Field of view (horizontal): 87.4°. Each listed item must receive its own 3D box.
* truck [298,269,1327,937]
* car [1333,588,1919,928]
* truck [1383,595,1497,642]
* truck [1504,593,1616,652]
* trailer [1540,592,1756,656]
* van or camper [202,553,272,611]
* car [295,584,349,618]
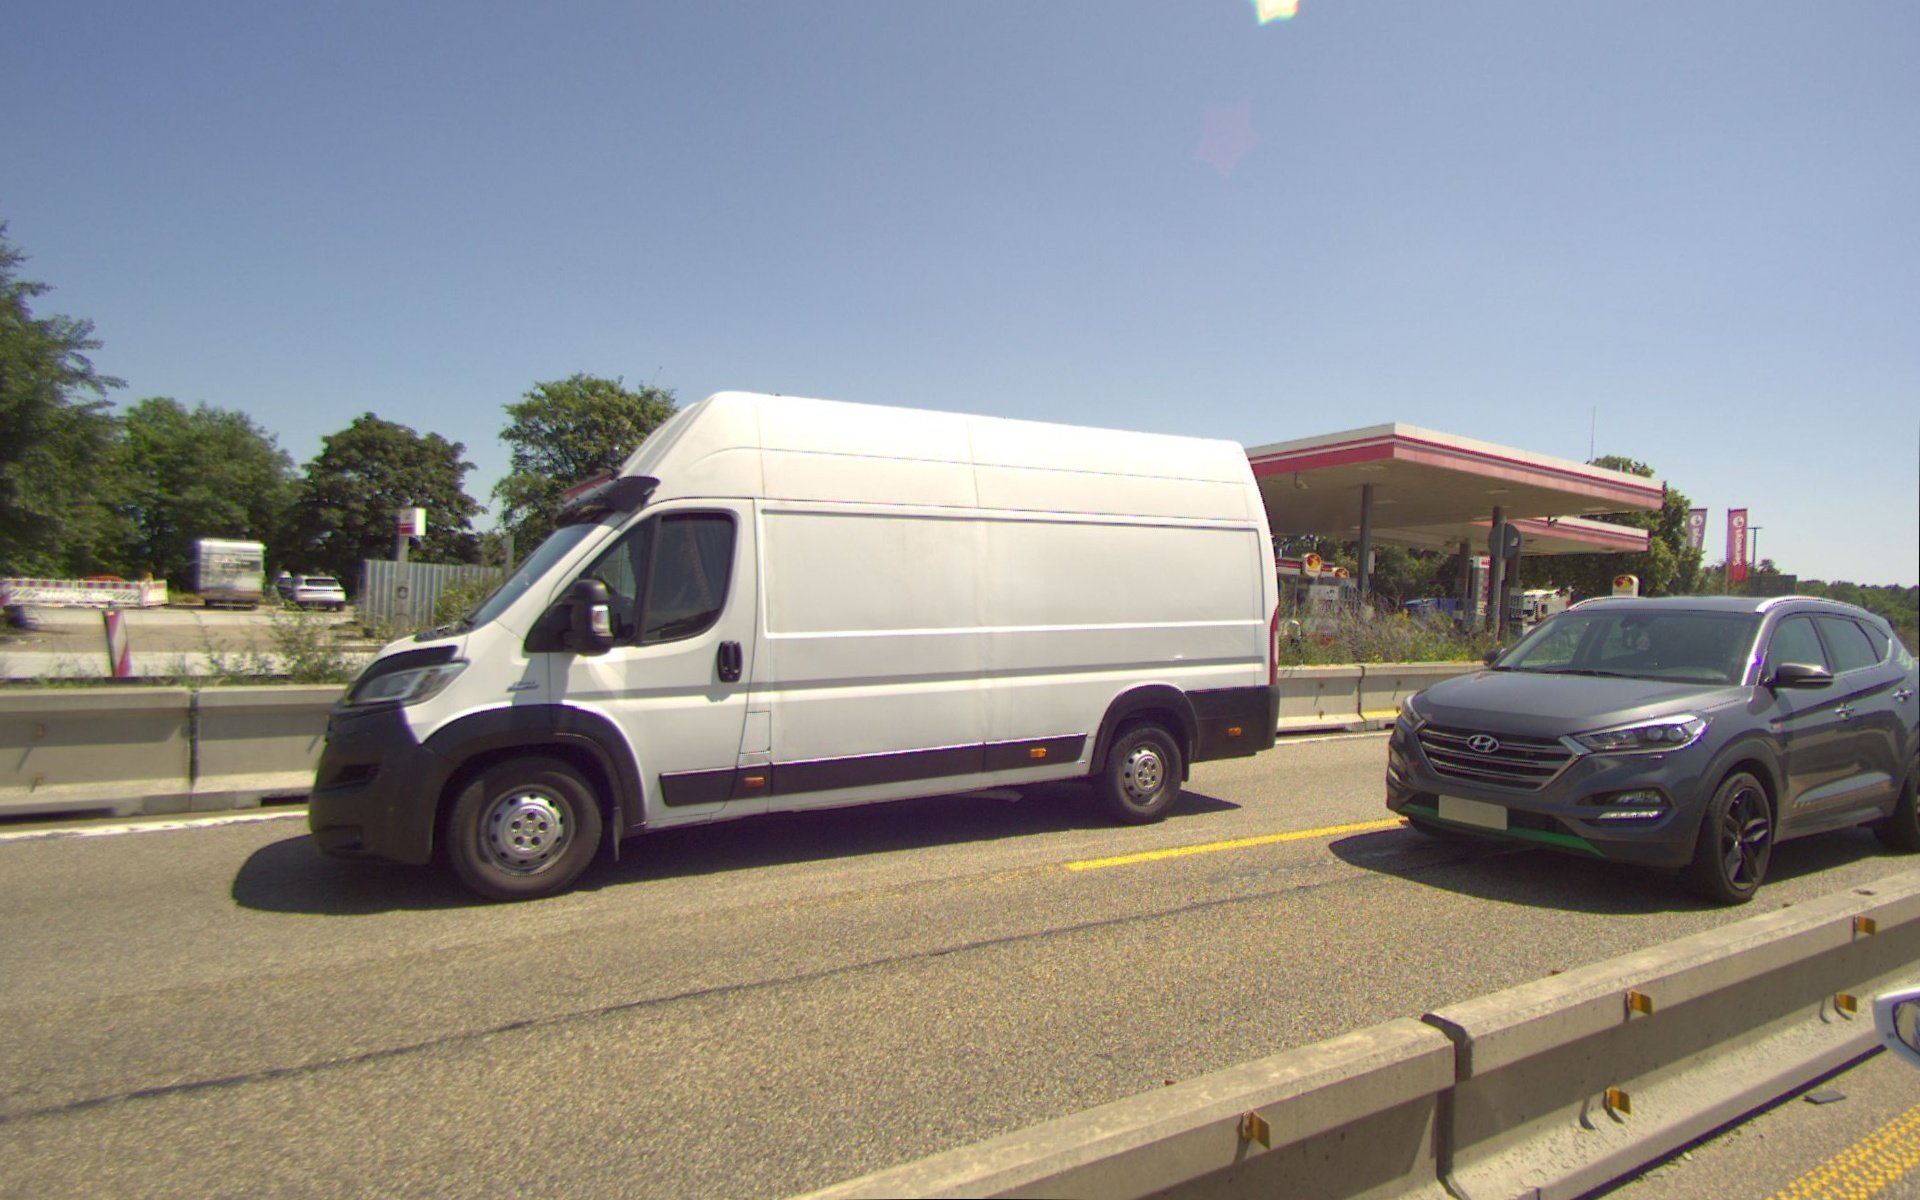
[{"bbox_3d":[-0.578,0.058,6.861,6.417,2.823,2.228,1,0,-31],"label":"truck"},{"bbox_3d":[4.611,0.789,6.693,3.954,1.632,1.929,1,0,-31],"label":"car"},{"bbox_3d":[34.492,1.326,72.246,6.991,3.104,2.824,2,0,-8],"label":"truck"},{"bbox_3d":[43.520,1.637,73.026,6.224,4.038,3.159,2,0,-3],"label":"truck"},{"bbox_3d":[50.162,1.758,73.427,13.890,4.166,3.159,2,0,-3],"label":"trailer"},{"bbox_3d":[-32.539,-0.765,45.267,2.424,2.430,5.171,1,0,-36],"label":"van or camper"},{"bbox_3d":[-30.121,0.027,47.373,1.980,1.484,3.960,1,1,-35],"label":"car"}]
